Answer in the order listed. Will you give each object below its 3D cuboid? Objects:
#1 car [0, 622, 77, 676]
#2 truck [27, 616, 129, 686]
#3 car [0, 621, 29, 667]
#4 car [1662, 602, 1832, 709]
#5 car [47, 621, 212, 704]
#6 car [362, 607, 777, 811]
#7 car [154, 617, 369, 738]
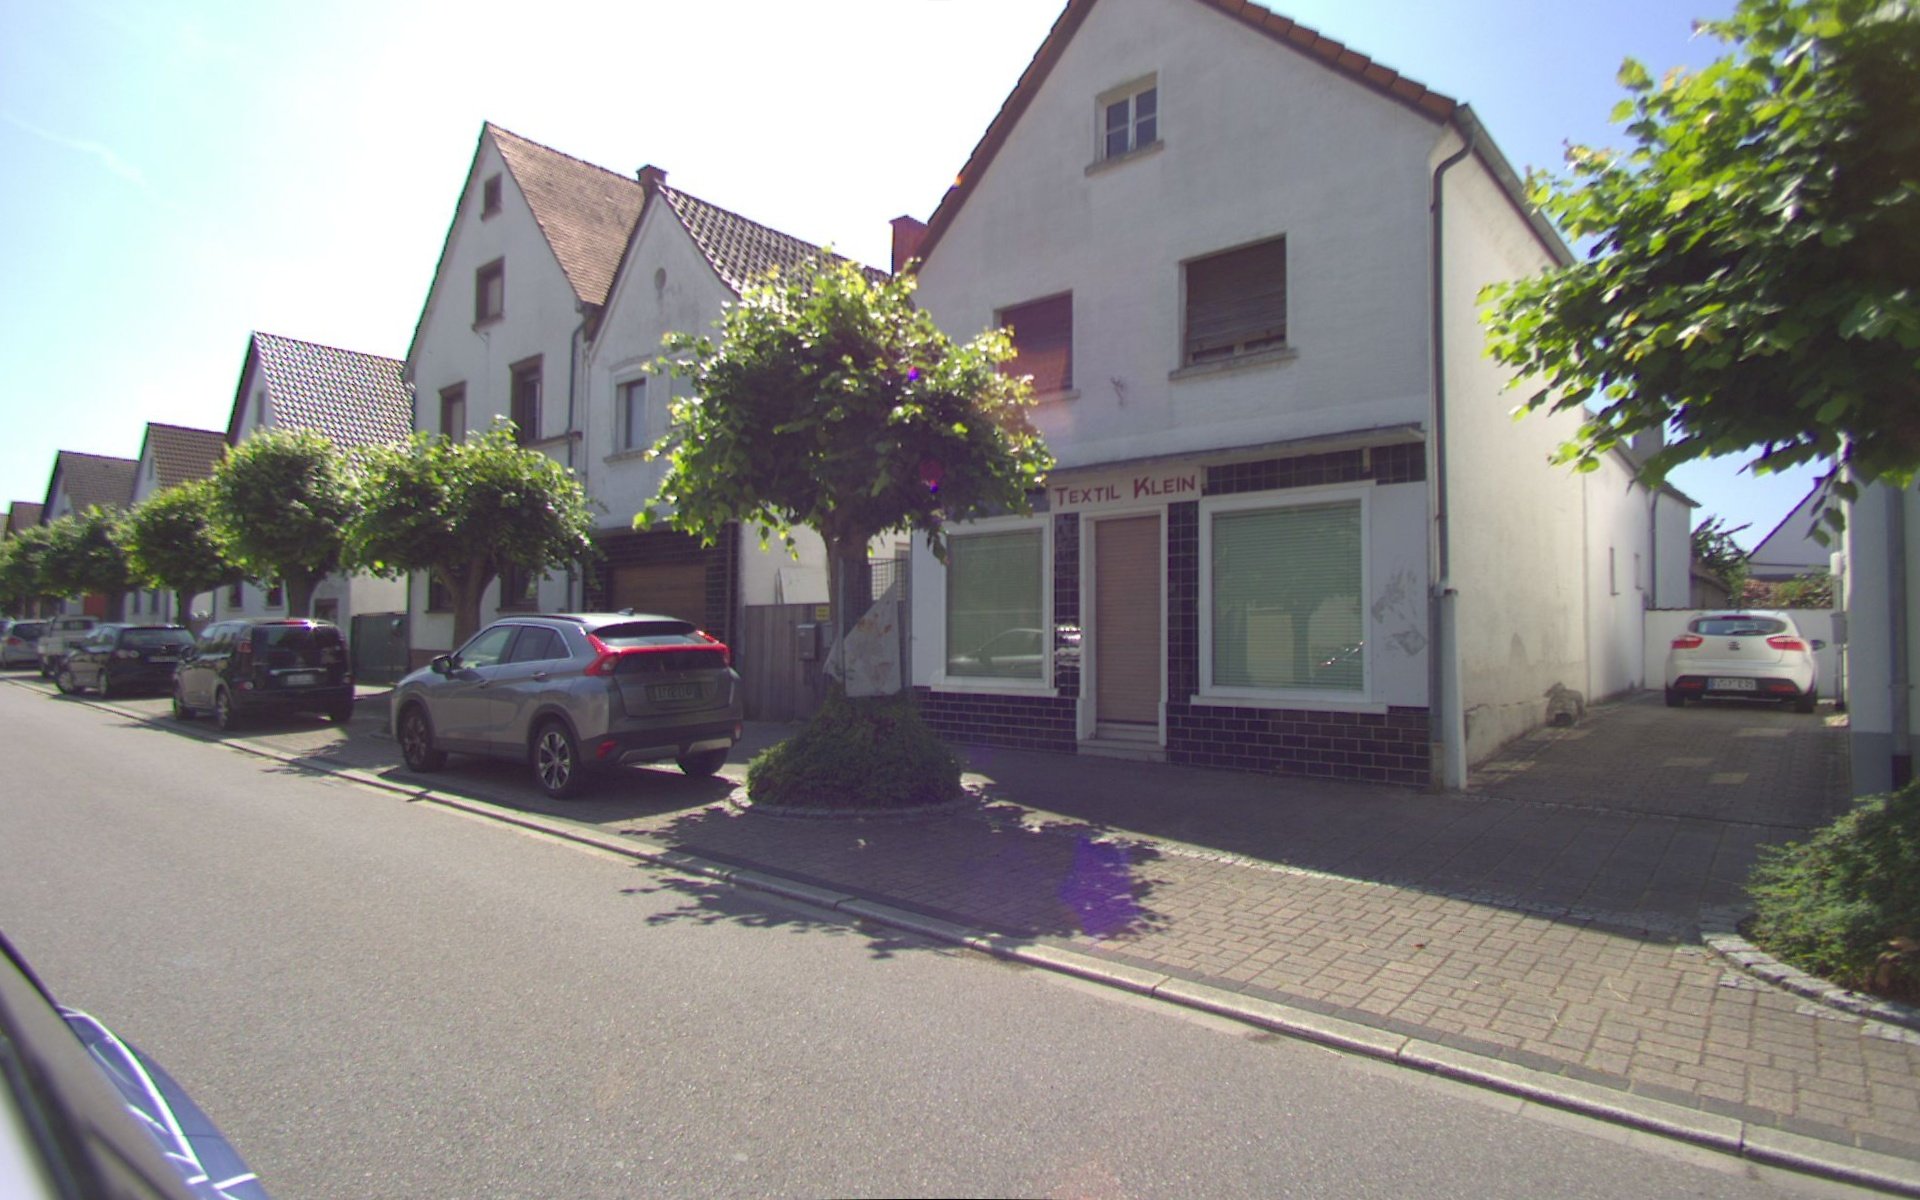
[{"bbox_3d":[-30.857,1.558,33.527,4.368,1.625,1.834,-1,0,41],"label":"car"},{"bbox_3d":[-24.629,1.357,28.215,4.189,1.778,1.560,-1,0,41],"label":"truck"},{"bbox_3d":[-36.608,1.661,38.062,4.296,1.649,1.834,-2,-1,40],"label":"car"},{"bbox_3d":[12.050,0.827,15.407,1.824,1.411,3.945,-1,-3,41],"label":"car"},{"bbox_3d":[-18.089,1.286,22.004,3.991,1.646,1.770,-1,-1,35],"label":"car"},{"bbox_3d":[-4.110,0.953,10.393,4.360,1.665,1.975,-1,-3,37],"label":"car"},{"bbox_3d":[-11.154,1.115,16.068,4.054,1.647,1.834,-1,-1,40],"label":"car"}]
